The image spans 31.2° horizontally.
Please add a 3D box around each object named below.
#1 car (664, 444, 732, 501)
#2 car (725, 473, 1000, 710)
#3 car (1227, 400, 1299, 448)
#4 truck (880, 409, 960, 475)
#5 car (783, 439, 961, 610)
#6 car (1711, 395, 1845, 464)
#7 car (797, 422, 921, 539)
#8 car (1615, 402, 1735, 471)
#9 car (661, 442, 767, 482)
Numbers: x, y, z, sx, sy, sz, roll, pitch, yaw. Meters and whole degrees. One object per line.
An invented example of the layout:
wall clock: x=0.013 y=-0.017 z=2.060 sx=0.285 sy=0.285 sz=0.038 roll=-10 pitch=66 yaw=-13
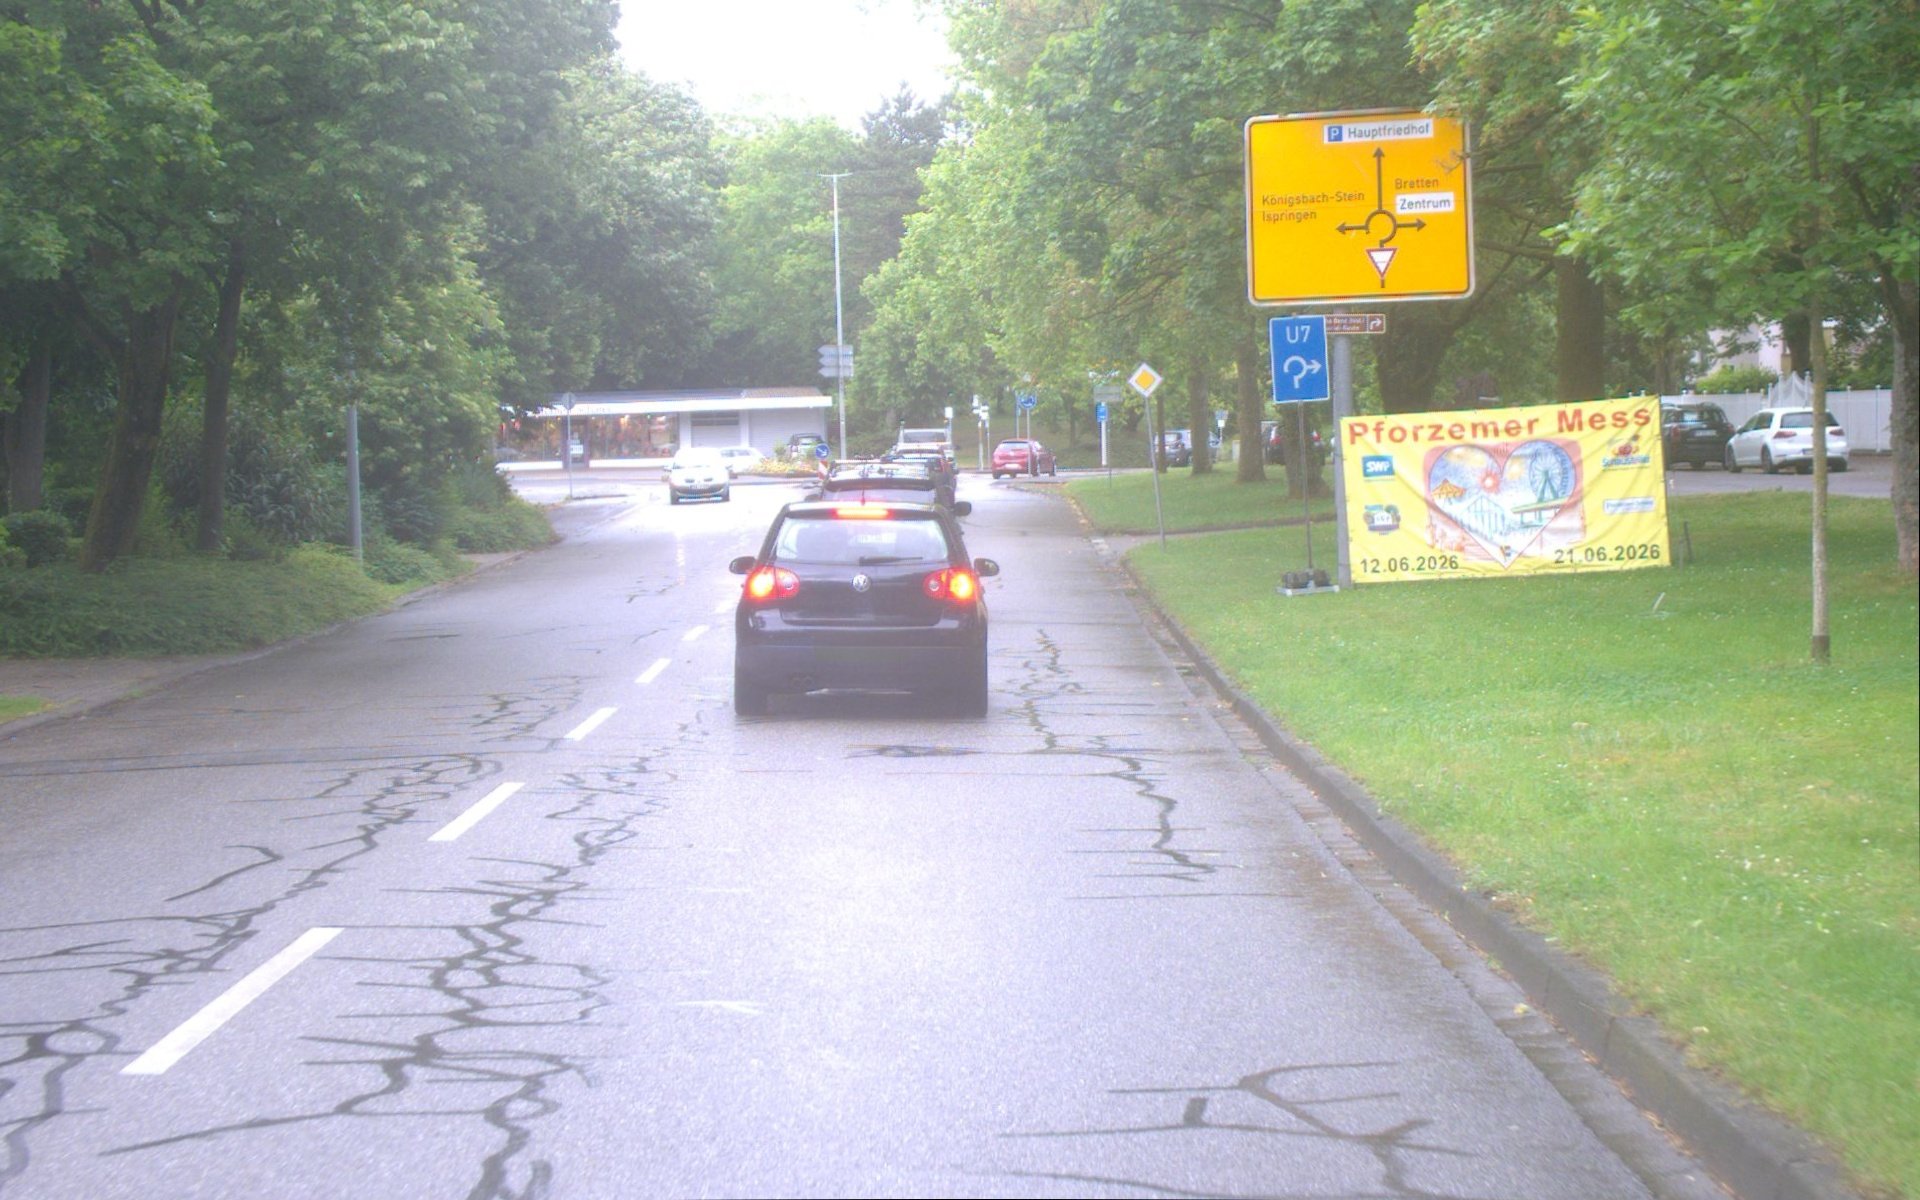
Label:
car: x=-7.831 y=-3.828 z=102.872 sx=1.763 sy=1.608 sz=4.142 roll=-3 pitch=3 yaw=-1
car: x=-0.651 y=-0.123 z=24.560 sx=1.798 sy=1.510 sz=3.754 roll=1 pitch=3 yaw=0
car: x=9.475 y=-5.522 z=107.726 sx=1.803 sy=1.380 sz=4.001 roll=-3 pitch=3 yaw=0
truck: x=-1.330 y=-5.080 z=110.637 sx=2.416 sy=1.997 sz=5.152 roll=-2 pitch=2 yaw=-2
car: x=-0.950 y=-0.905 z=38.887 sx=1.855 sy=1.778 sz=4.001 roll=-2 pitch=3 yaw=0
car: x=17.969 y=-3.776 z=75.672 sx=1.616 sy=1.404 sz=4.012 roll=-3 pitch=4 yaw=-6
car: x=-1.599 y=-1.955 z=55.862 sx=1.855 sy=1.778 sz=4.001 roll=-2 pitch=2 yaw=0
car: x=17.242 y=-3.965 z=83.041 sx=1.801 sy=1.524 sz=4.114 roll=-3 pitch=4 yaw=-3
car: x=-10.046 y=-5.643 z=140.668 sx=3.996 sy=1.422 sz=1.613 roll=-5 pitch=4 yaw=-33
